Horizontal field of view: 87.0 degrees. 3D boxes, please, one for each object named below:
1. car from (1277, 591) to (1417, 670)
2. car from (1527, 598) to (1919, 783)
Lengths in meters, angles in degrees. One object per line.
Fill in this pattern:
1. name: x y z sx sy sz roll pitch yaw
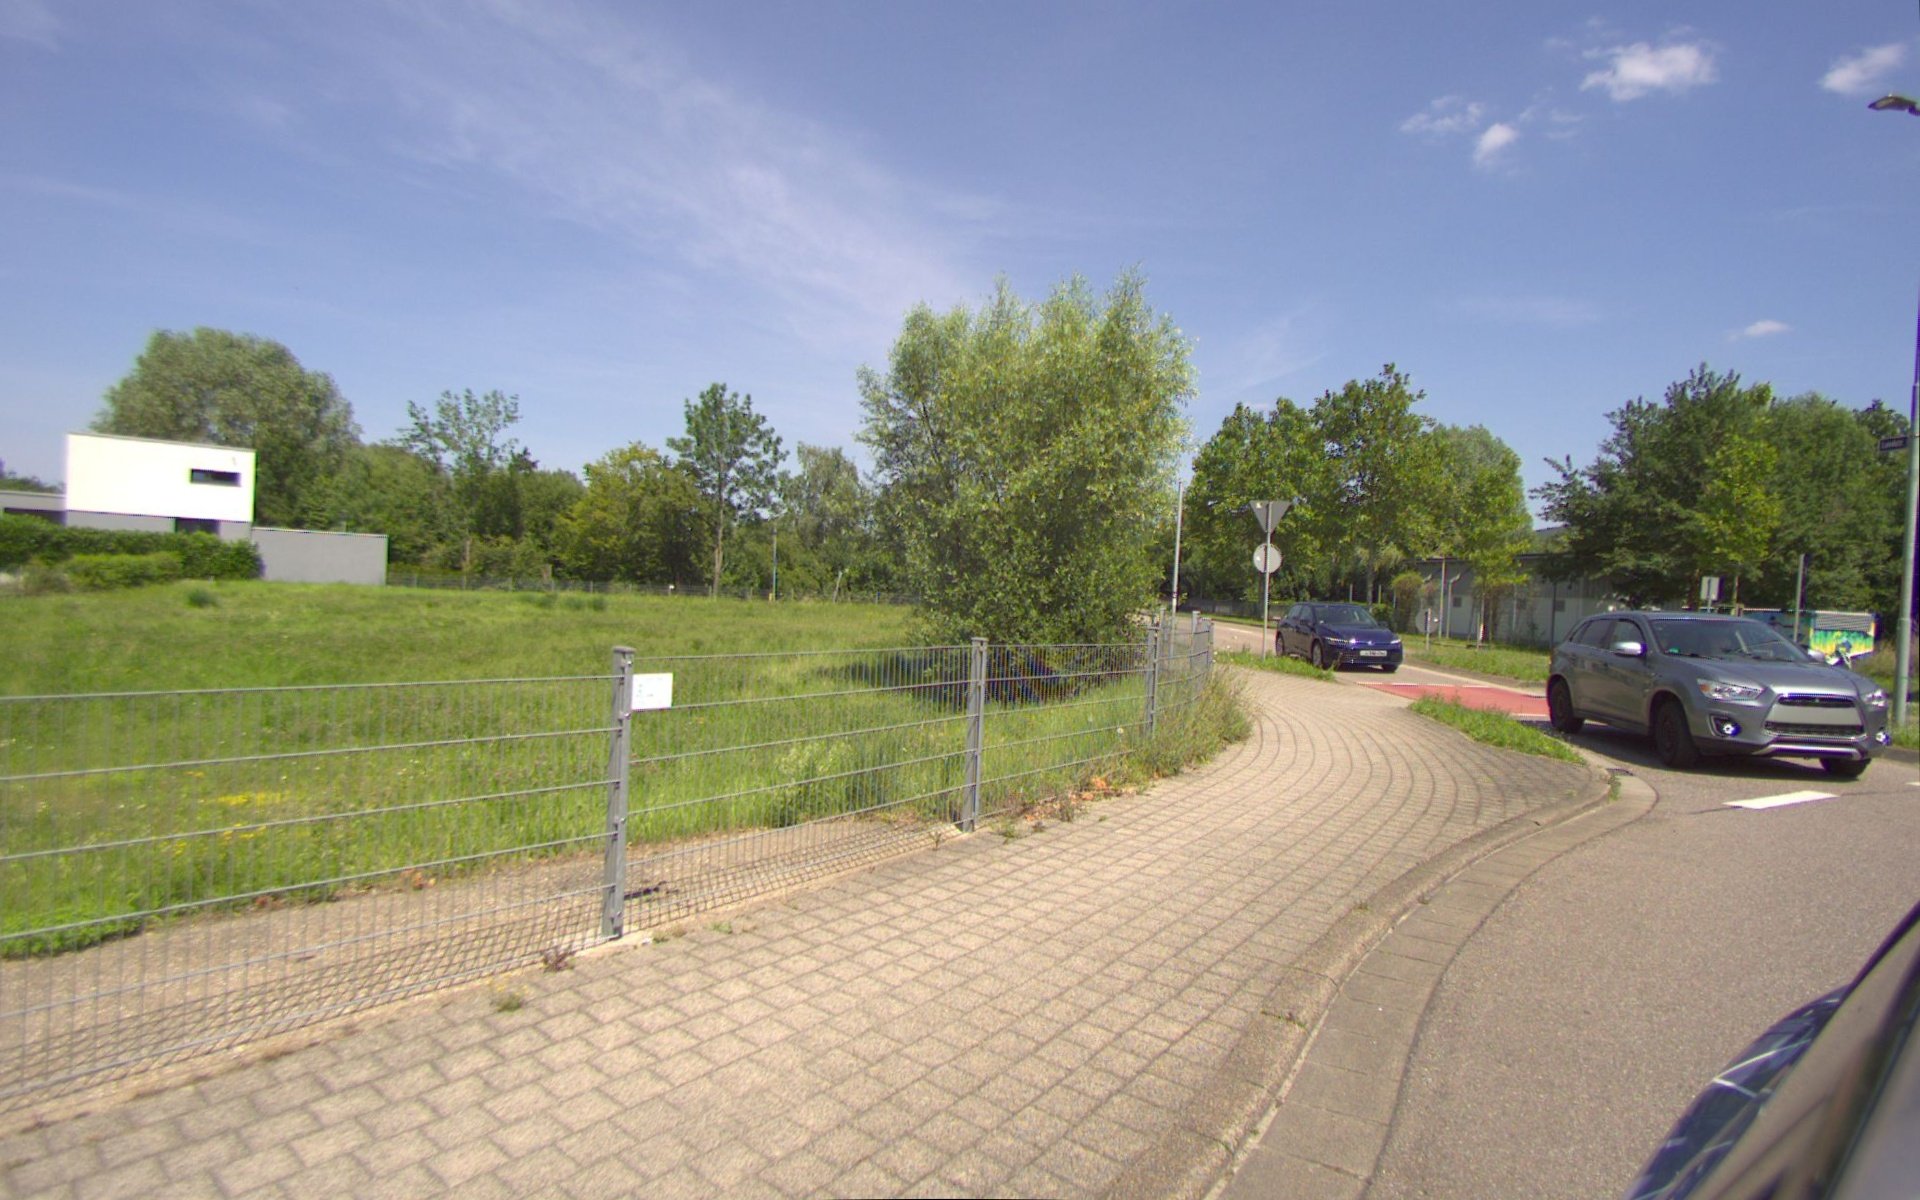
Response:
1. car: 8.703 0.614 23.151 1.762 1.559 4.128 2 1 3
2. car: 8.384 0.829 11.639 1.723 1.553 4.513 2 1 9
